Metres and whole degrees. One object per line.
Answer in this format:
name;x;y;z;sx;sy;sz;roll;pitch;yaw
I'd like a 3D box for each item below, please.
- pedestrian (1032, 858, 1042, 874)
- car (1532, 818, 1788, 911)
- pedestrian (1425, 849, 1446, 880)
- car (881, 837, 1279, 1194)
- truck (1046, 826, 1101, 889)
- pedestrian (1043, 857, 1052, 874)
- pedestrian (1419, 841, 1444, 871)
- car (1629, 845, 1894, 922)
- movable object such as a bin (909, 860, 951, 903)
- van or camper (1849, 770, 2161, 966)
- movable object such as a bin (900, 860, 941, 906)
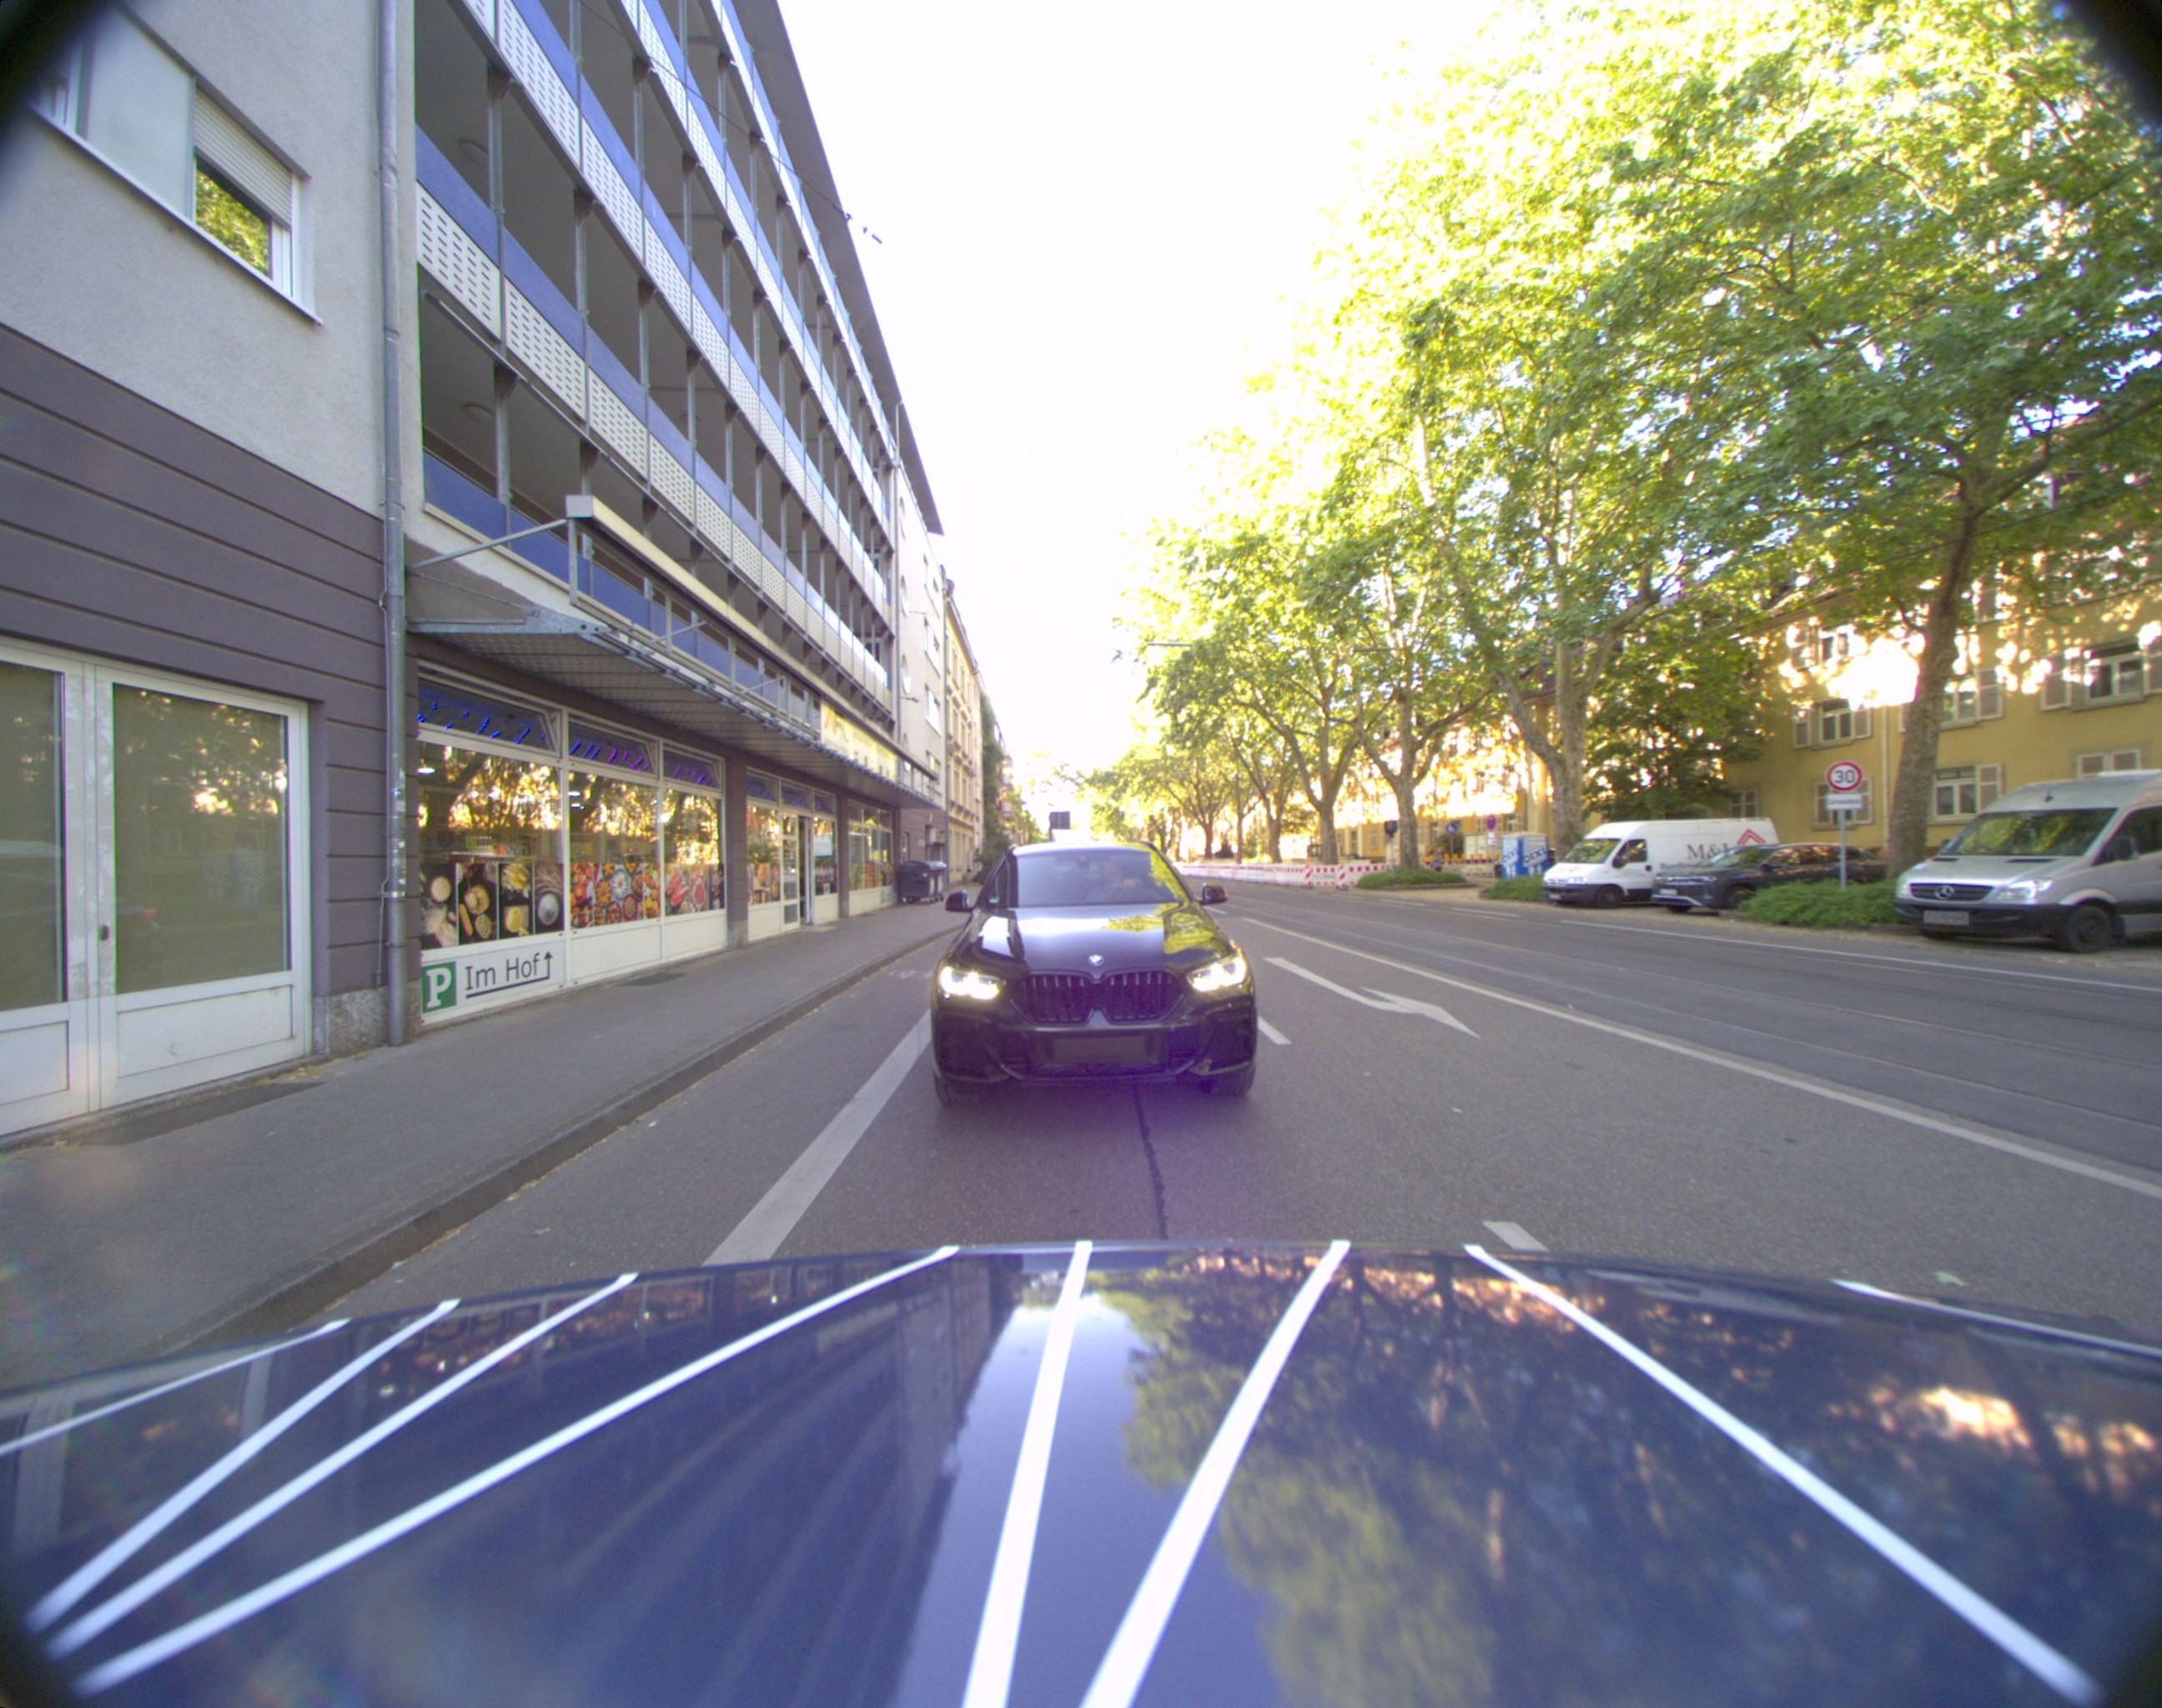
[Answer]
pedestrian;-4.649;1.268;80.444;0.876;1.728;0.848;-3;1;2
car;15.850;0.275;20.999;5.612;2.361;2.025;-1;0;-2
pedestrian;17.899;0.538;38.334;0.597;1.563;0.716;-1;0;-26
car;0.019;0.824;6.057;1.943;1.733;4.475;-2;0;1
truck;-0.578;0.201;43.155;2.385;3.165;8.525;2;0;-5
pedestrian;-3.569;1.212;80.682;0.876;1.728;0.848;-3;1;1
pedestrian;23.740;0.114;51.503;1.098;2.002;1.235;-1;0;-4
car;15.939;0.658;17.973;4.575;1.621;1.969;-1;0;-2
movable object such as a bin;-5.289;0.952;26.705;1.122;1.437;1.306;-1;0;4
van or camper;16.088;0.129;11.799;6.127;2.661;2.229;-2;0;-2
movable object such as a bin;-5.229;0.932;24.810;1.069;1.438;1.296;-1;0;-1
